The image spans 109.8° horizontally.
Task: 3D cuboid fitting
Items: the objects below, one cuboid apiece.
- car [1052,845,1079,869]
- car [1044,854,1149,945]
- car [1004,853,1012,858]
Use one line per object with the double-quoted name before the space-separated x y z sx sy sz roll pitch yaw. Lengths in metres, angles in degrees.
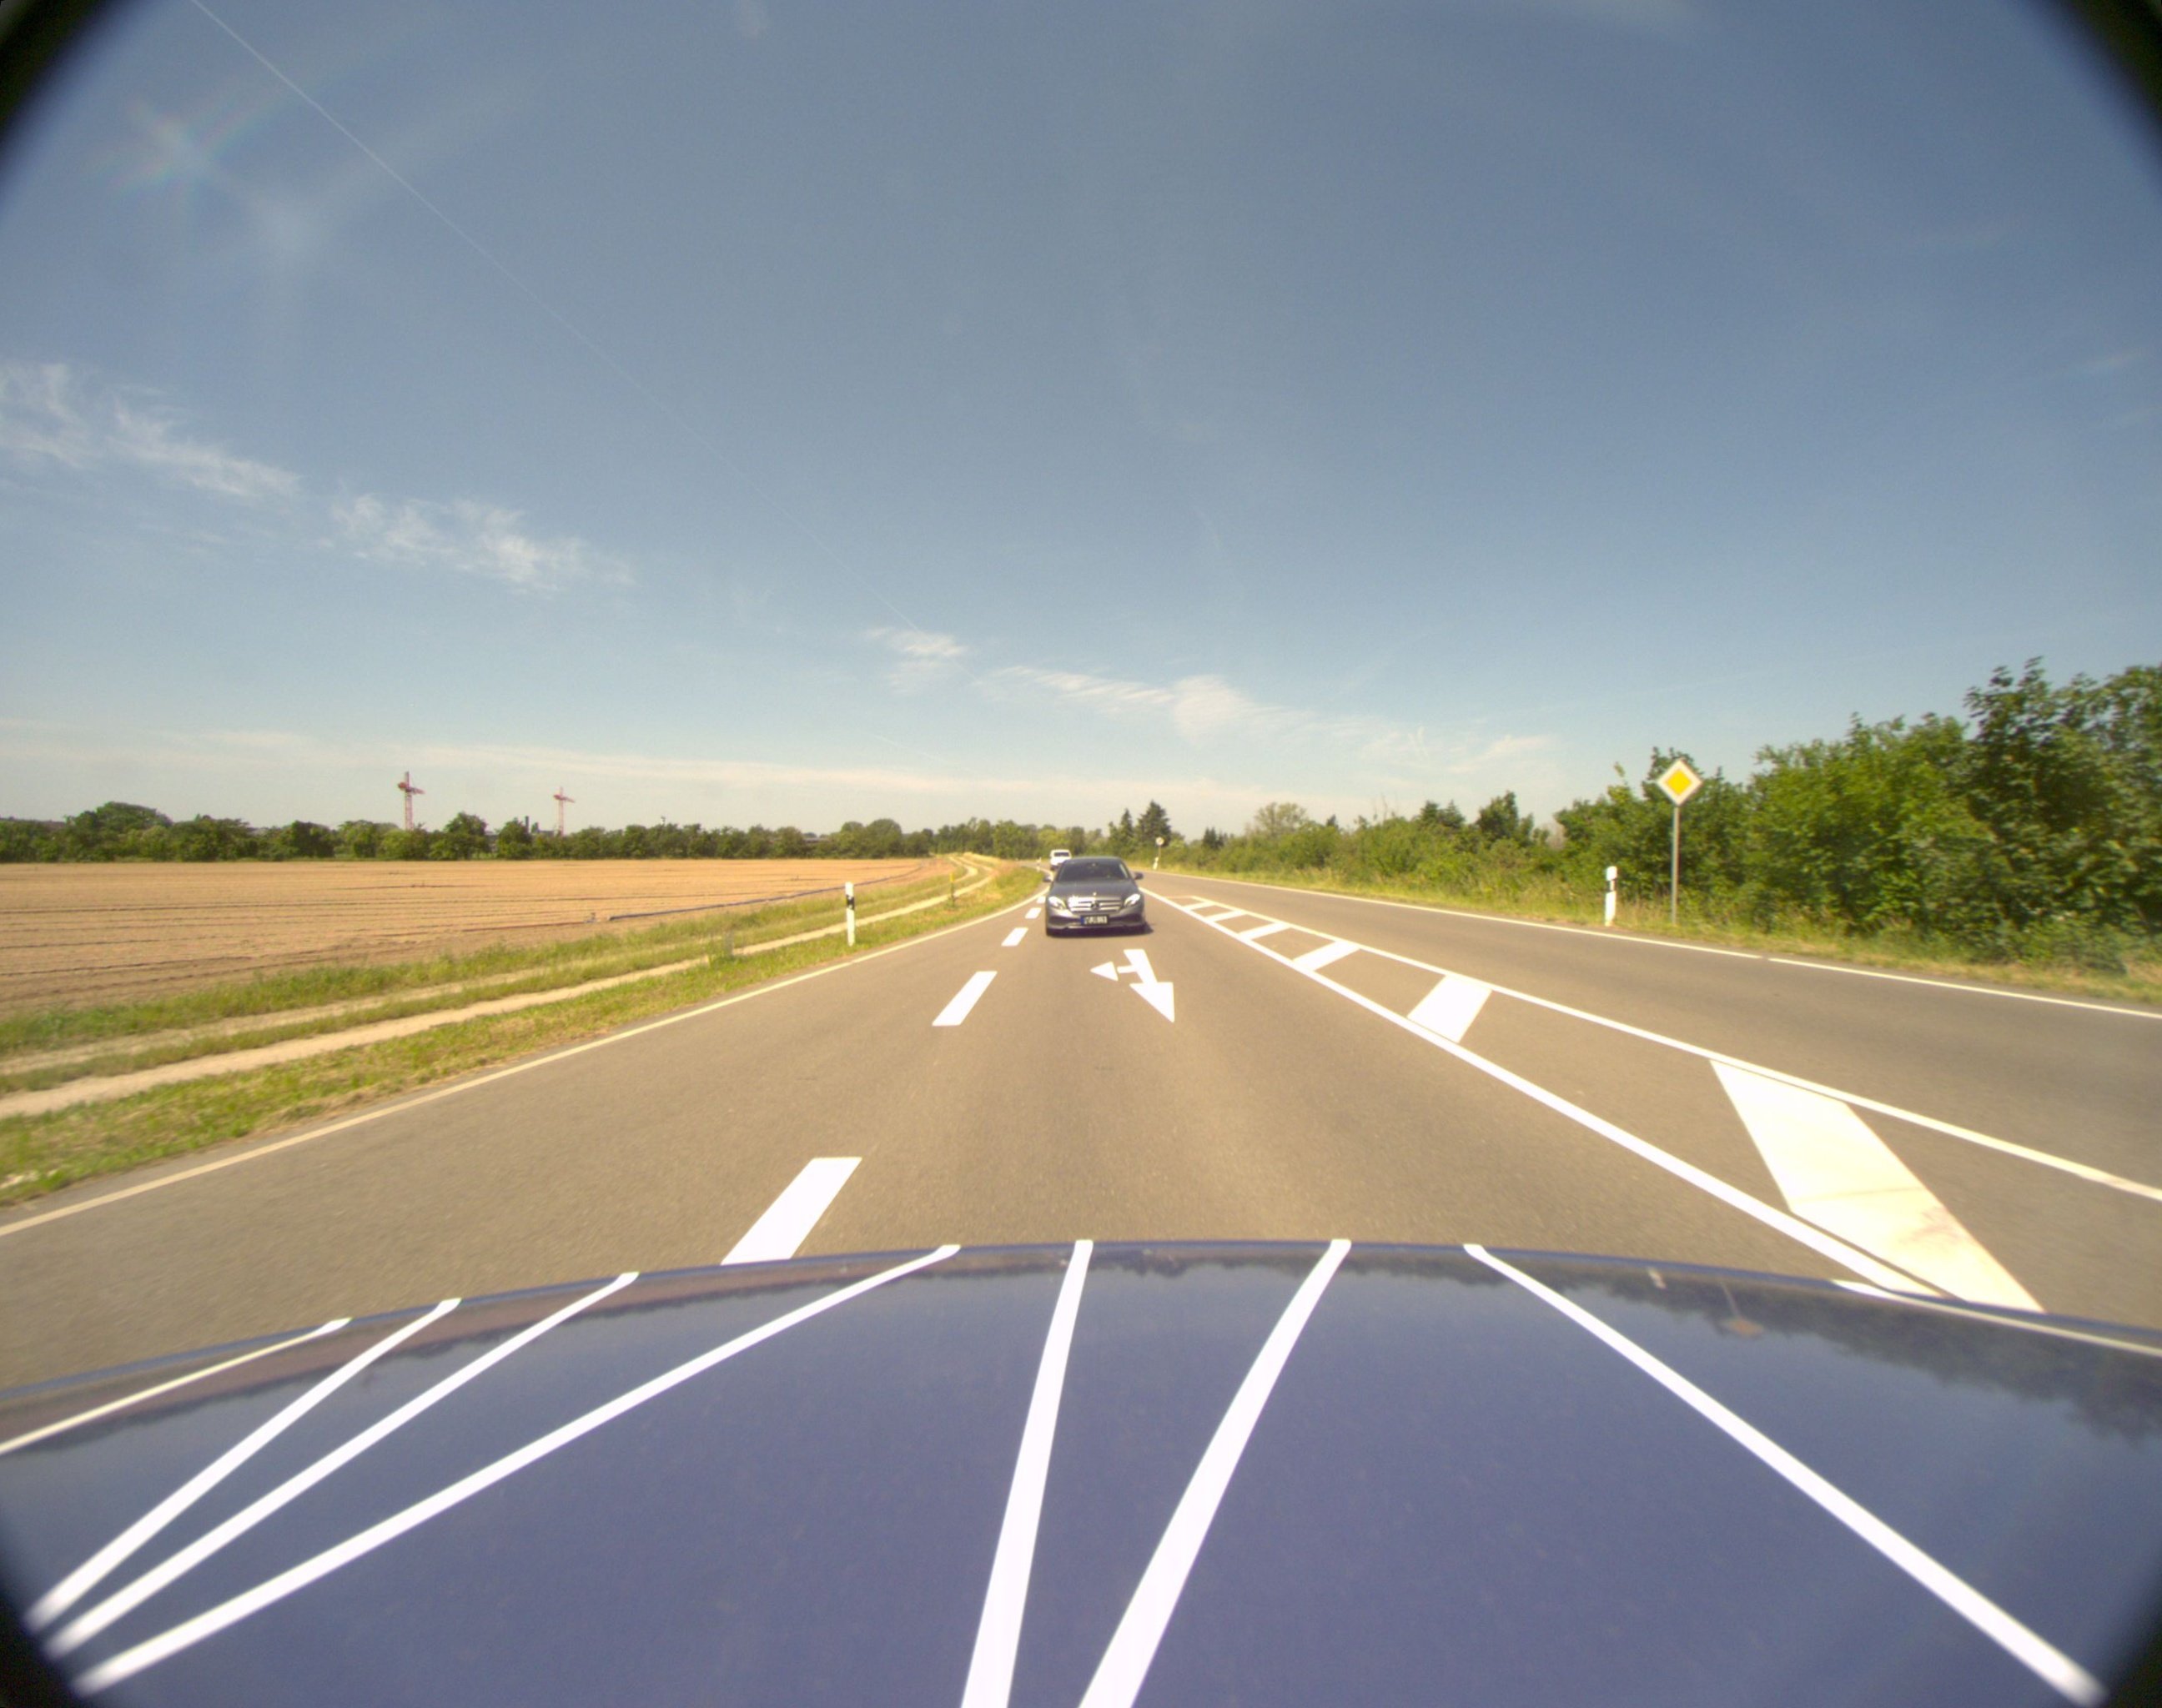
"car" -1.485 0.247 70.888 2.180 2.002 5.023 -3 1 -4
"car" 0.416 0.811 15.651 1.831 1.540 4.499 -1 0 4
"car" -19.215 0.437 201.072 1.698 1.355 3.822 -2 1 -11
